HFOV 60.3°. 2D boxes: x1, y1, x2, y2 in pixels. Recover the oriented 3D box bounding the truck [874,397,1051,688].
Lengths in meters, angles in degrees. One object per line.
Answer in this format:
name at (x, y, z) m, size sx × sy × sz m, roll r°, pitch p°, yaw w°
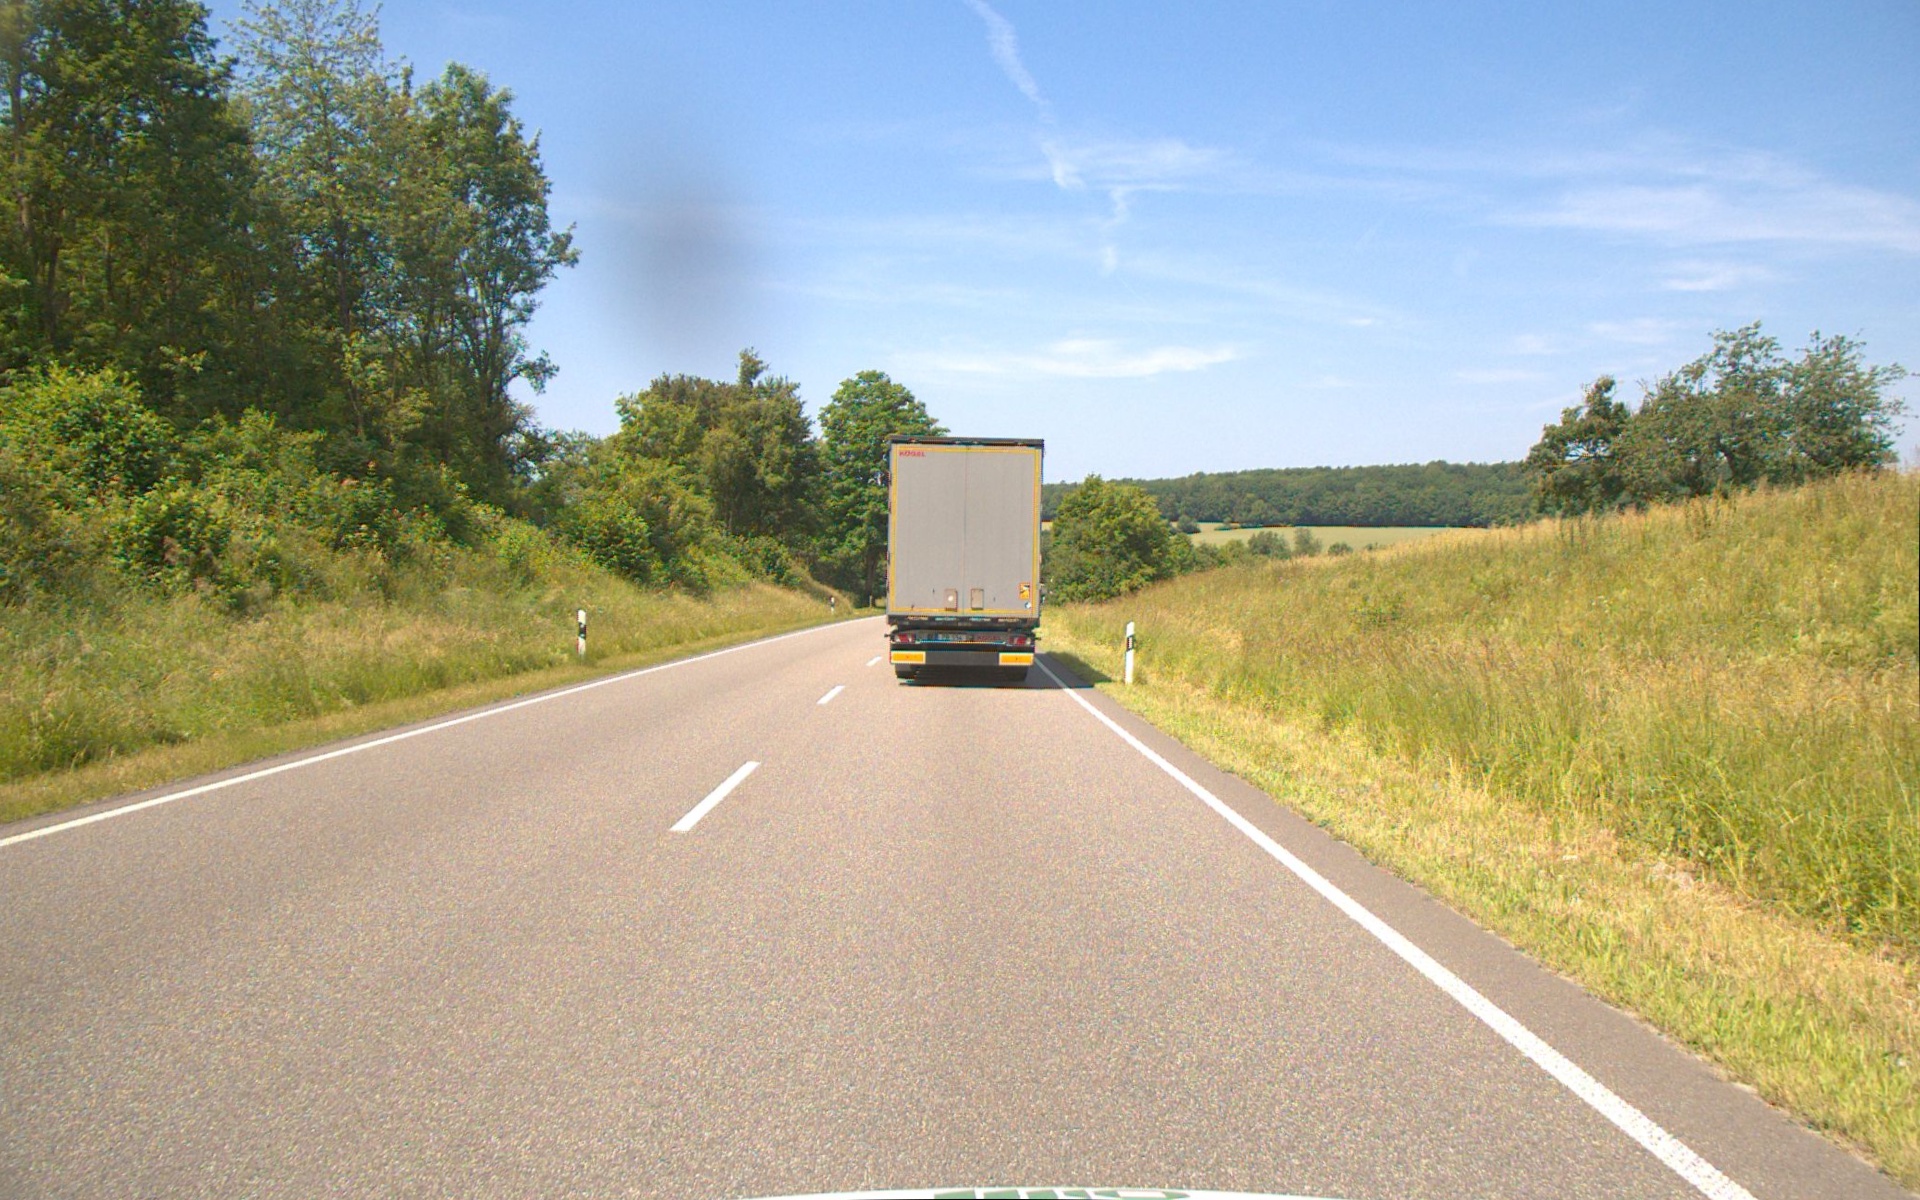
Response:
truck at (-0.098, -0.960, 32.443) m, size 2.760 × 4.611 × 11.764 m, roll 1°, pitch 0°, yaw -1°
